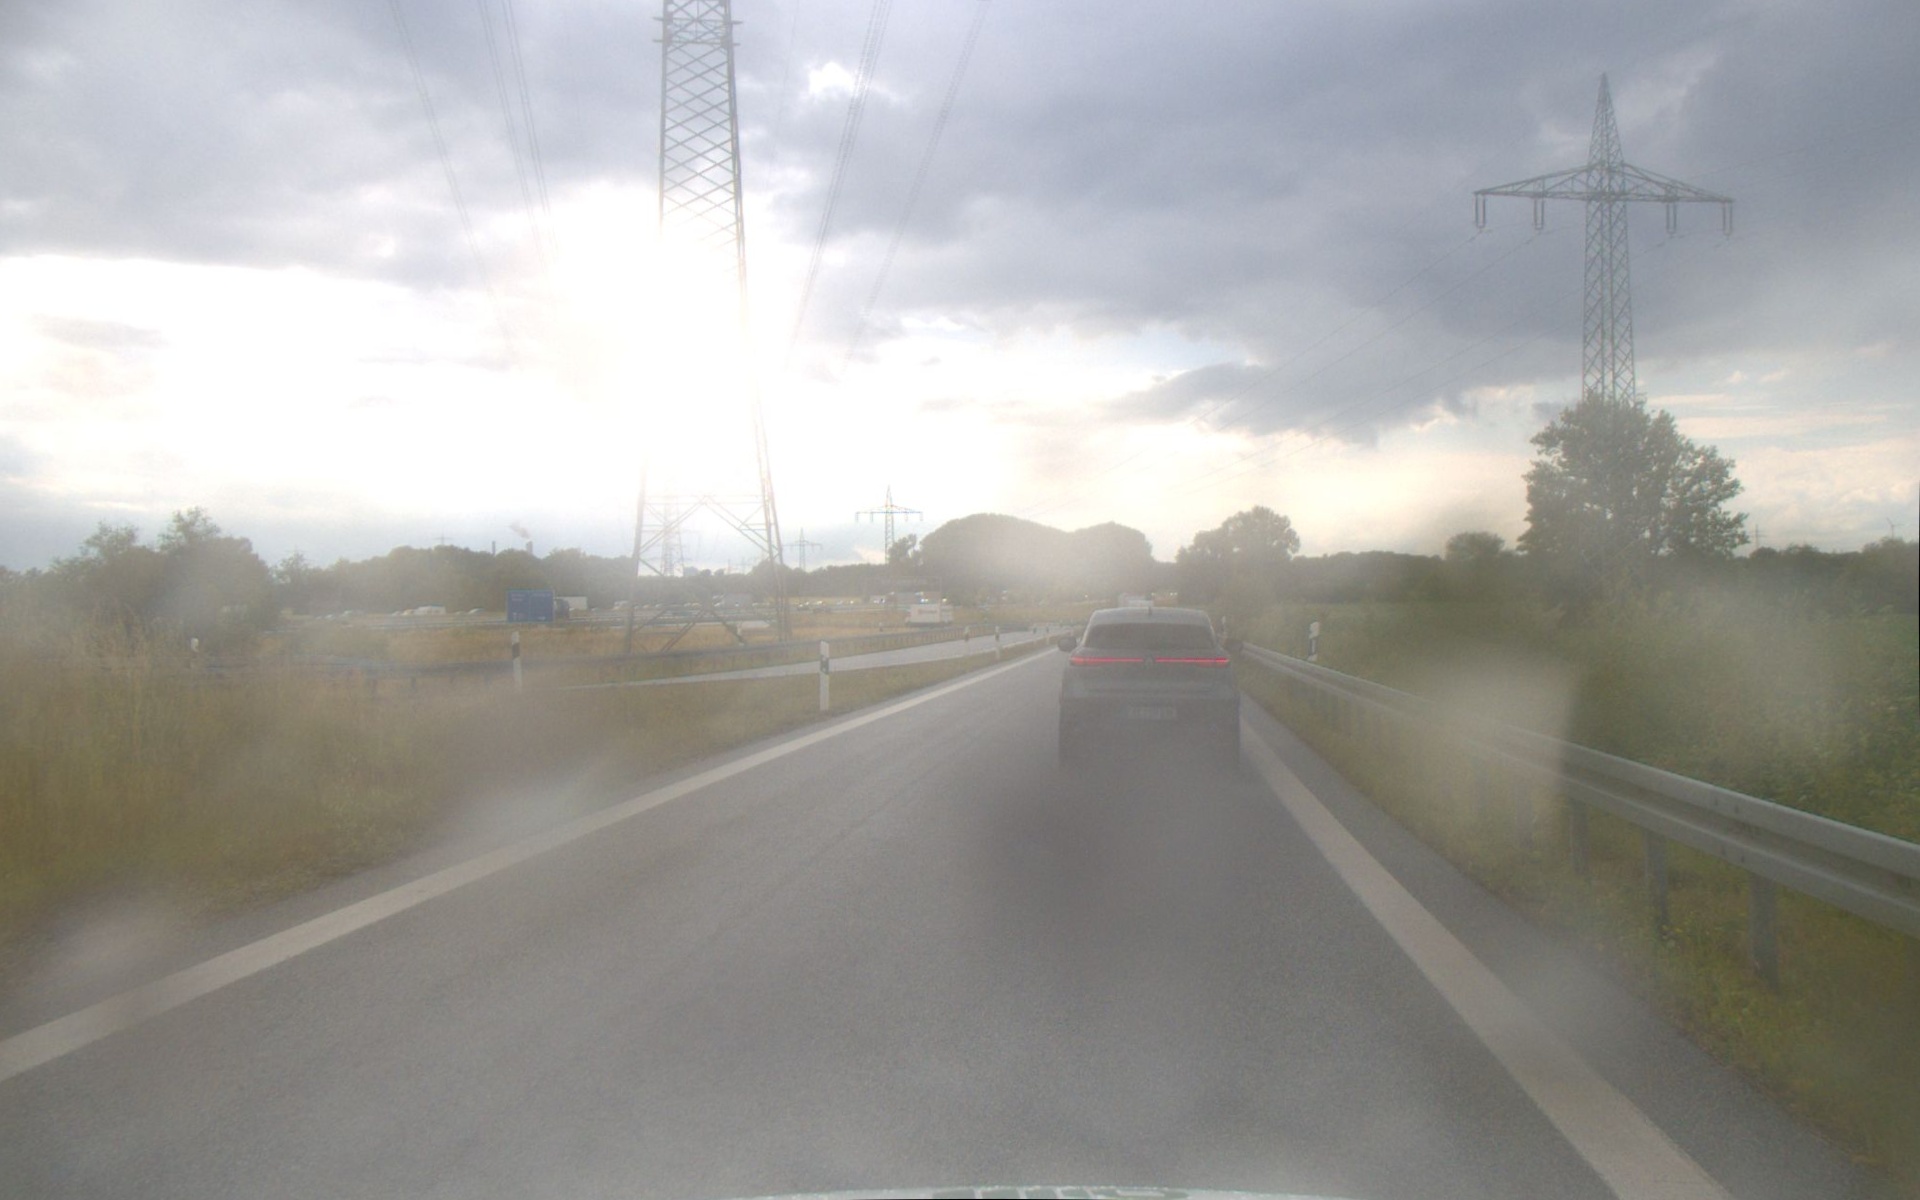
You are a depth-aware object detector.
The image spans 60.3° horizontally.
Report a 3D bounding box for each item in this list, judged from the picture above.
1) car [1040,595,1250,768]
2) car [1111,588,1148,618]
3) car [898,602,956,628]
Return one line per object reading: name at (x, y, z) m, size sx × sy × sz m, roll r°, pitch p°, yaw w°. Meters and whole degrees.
car at (1.947, 0.751, 17.545) m, size 1.951 × 1.594 × 4.152 m, roll 0°, pitch 0°, yaw 6°
car at (18.762, 0.322, 183.485) m, size 3.072 × 3.002 × 7.208 m, roll -1°, pitch 2°, yaw -1°
car at (-4.901, 2.191, 244.224) m, size 8.889 × 3.674 × 3.372 m, roll -1°, pitch -1°, yaw 44°
